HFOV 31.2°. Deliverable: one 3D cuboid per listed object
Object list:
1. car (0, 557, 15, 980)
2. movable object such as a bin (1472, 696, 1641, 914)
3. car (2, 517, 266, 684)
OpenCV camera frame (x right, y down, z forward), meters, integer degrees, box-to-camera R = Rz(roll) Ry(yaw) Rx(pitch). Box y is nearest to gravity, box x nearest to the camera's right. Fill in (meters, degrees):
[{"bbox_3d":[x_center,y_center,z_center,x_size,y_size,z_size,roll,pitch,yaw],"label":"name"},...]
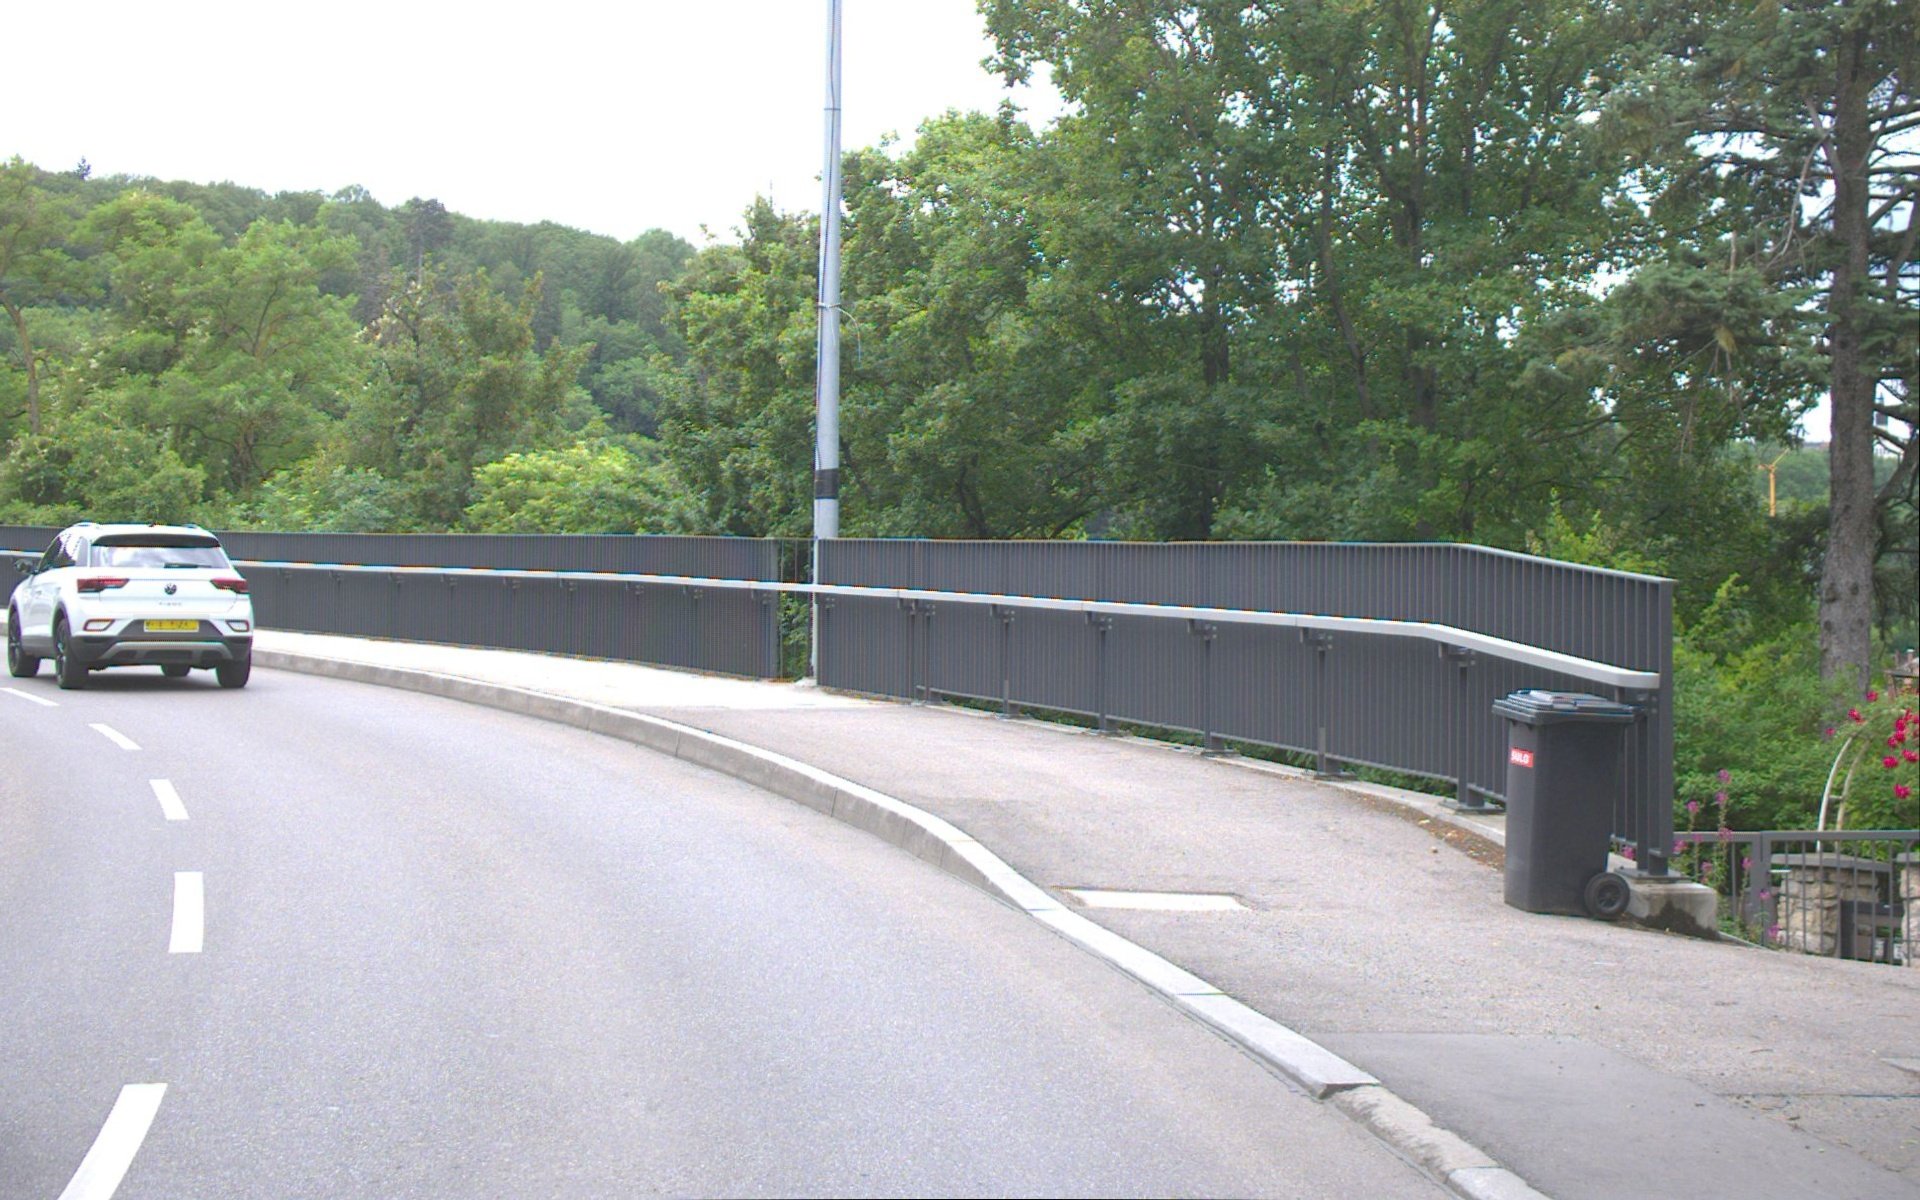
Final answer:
[{"bbox_3d":[-3.225,0.645,6.455,1.847,1.462,4.880,2,1,-4],"label":"car"},{"bbox_3d":[2.537,0.868,14.665,0.520,0.878,0.532,2,1,-11],"label":"movable object such as a bin"},{"bbox_3d":[-8.131,-0.019,33.635,1.866,1.531,3.804,1,1,-23],"label":"car"}]
